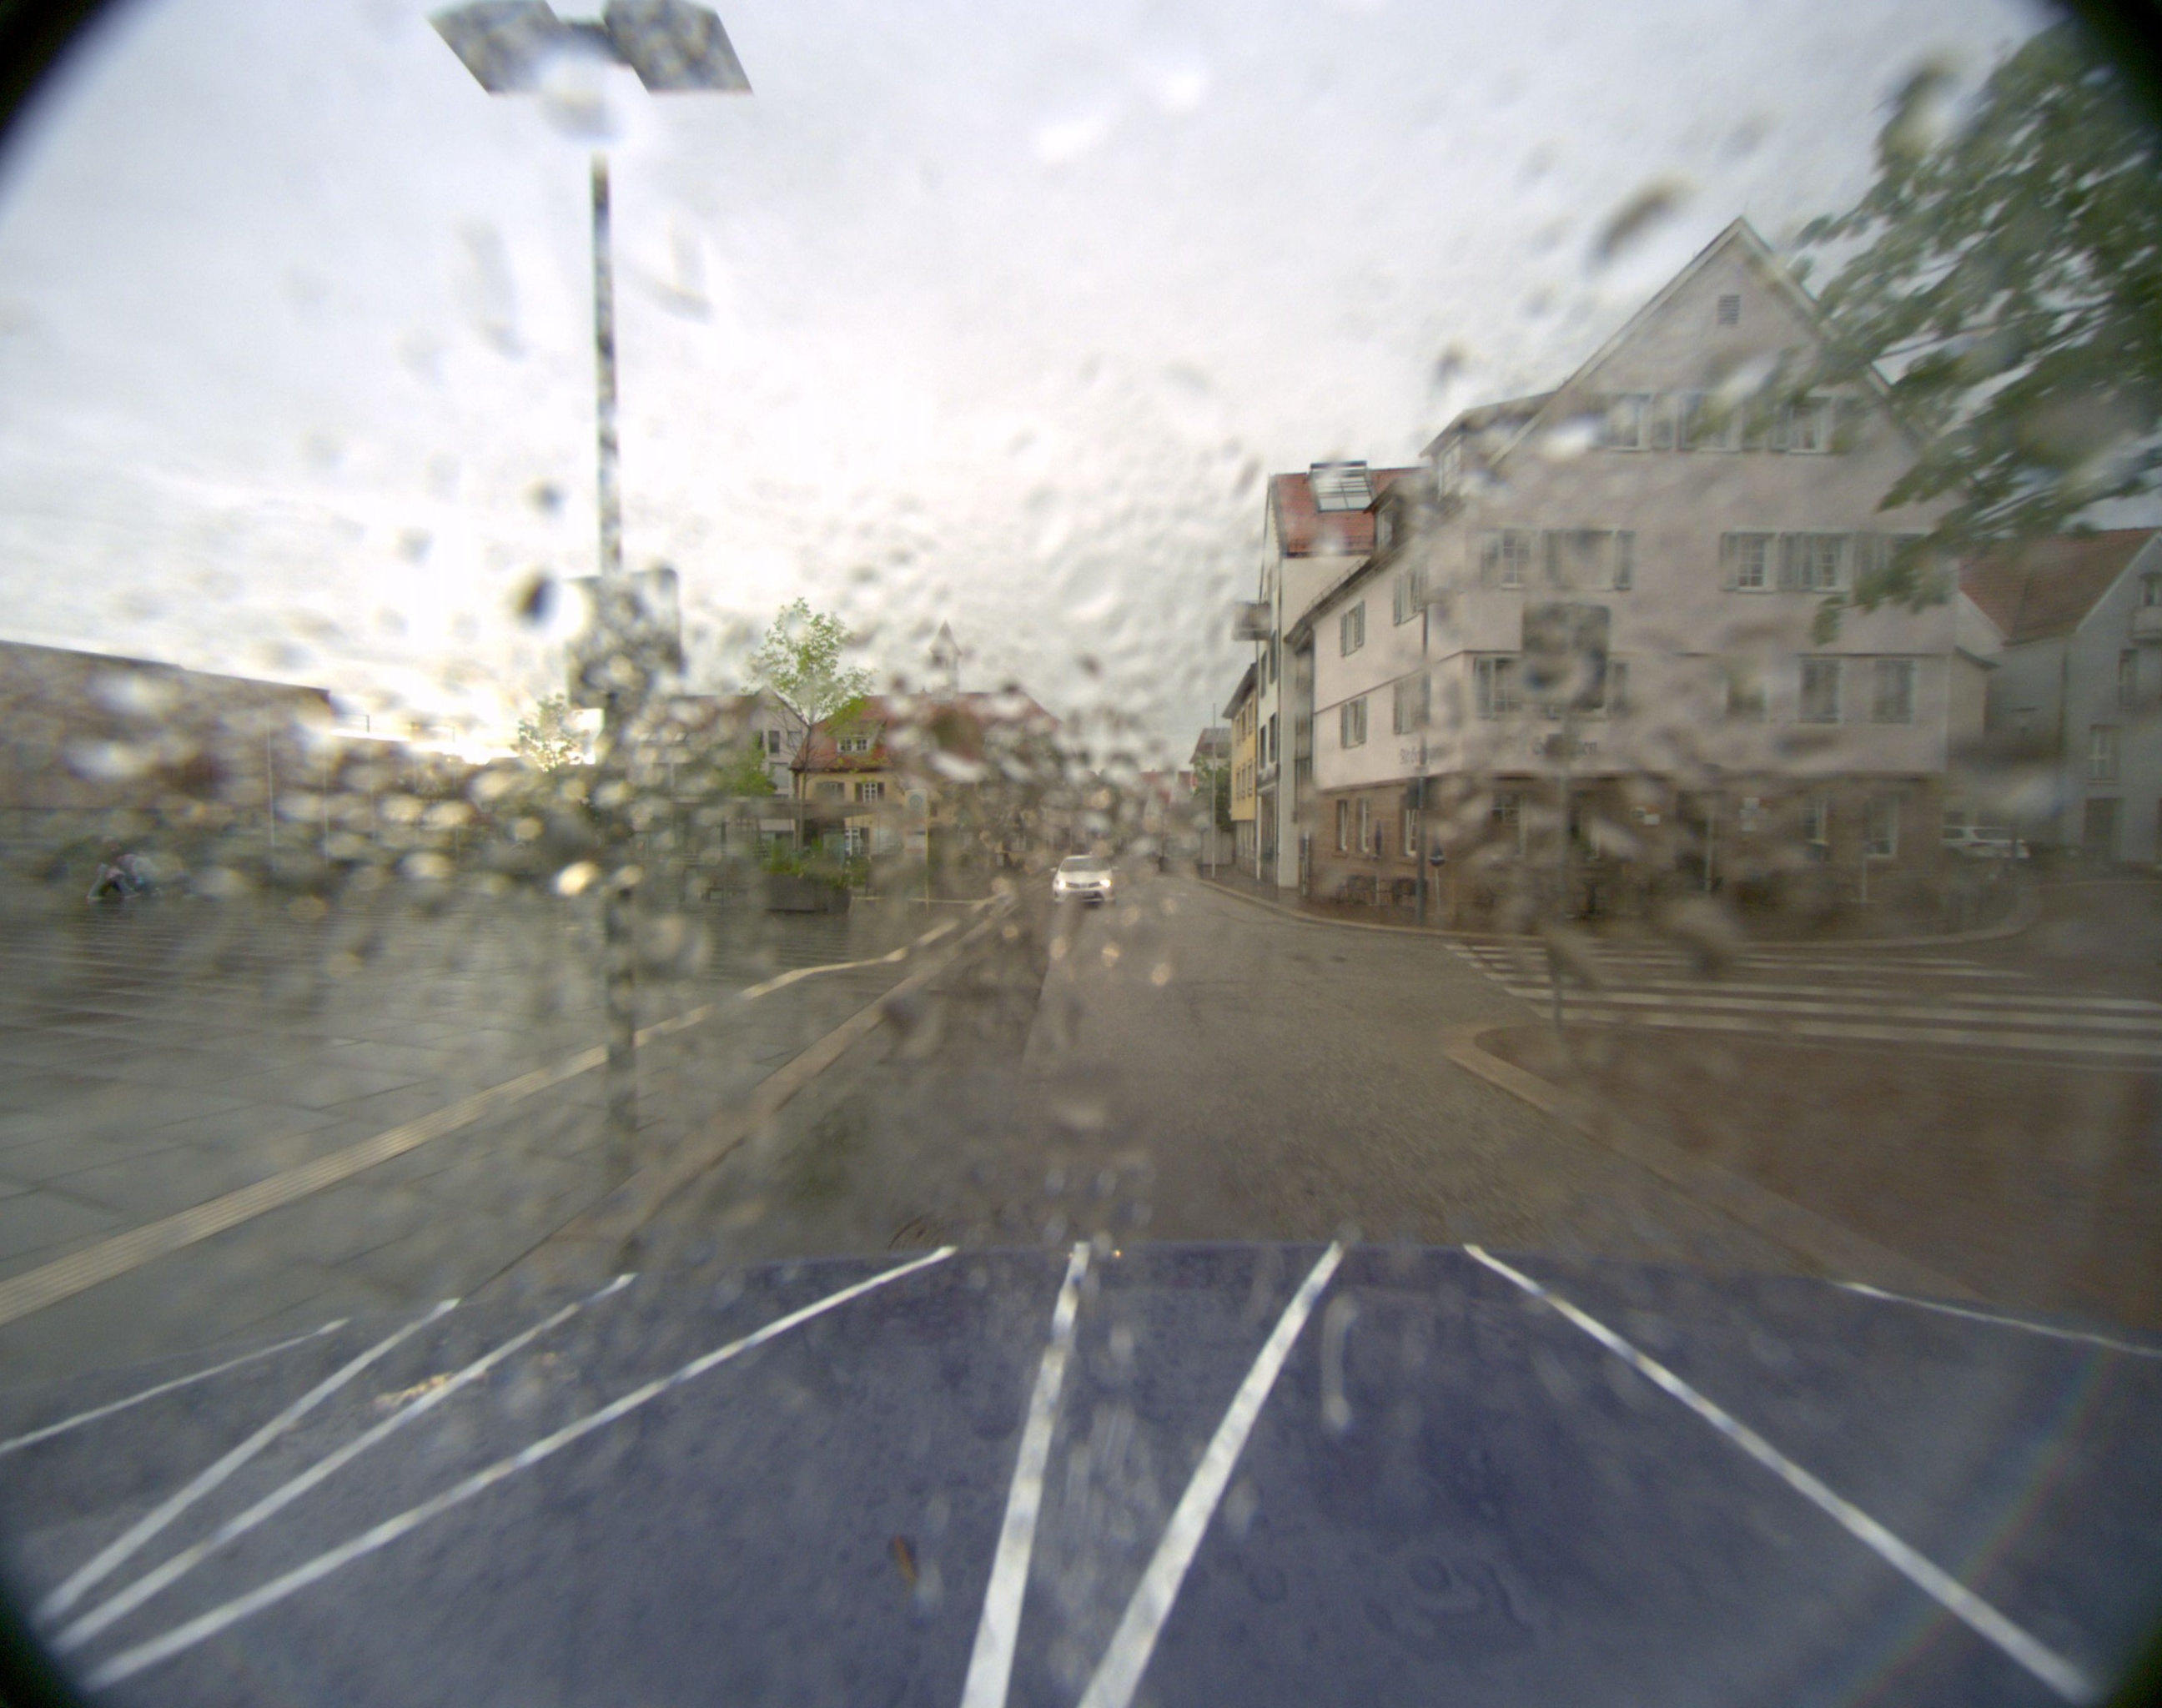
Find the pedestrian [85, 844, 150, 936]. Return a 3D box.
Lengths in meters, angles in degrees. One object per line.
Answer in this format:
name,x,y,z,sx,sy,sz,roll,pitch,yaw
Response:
pedestrian,-26.238,0.951,20.696,0.941,2.426,0.778,2,2,19

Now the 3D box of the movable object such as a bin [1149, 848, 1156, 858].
movable object such as a bin,7.509,-0.089,80.030,0.697,1.071,0.645,-2,2,5

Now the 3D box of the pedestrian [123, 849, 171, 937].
pedestrian,-26.591,1.090,21.639,0.735,2.426,0.570,1,2,17

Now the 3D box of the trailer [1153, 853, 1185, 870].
trailer,6.101,0.545,52.954,1.857,1.118,3.019,0,-1,-1

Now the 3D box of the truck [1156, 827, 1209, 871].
truck,6.349,-0.235,48.185,2.406,2.579,6.483,0,-1,-1

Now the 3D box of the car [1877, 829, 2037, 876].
car,32.668,-0.118,28.518,1.828,1.612,3.891,1,2,10

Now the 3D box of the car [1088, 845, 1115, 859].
car,2.364,-0.292,85.657,1.865,1.452,4.005,2,2,20

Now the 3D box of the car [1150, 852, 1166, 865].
car,9.622,0.584,95.097,1.805,1.434,4.002,-1,2,9

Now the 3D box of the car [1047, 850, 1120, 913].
car,0.176,0.739,22.638,1.867,1.578,4.614,-1,2,4

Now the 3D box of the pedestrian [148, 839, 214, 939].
pedestrian,-24.938,0.937,21.062,1.054,2.669,0.833,2,2,22
